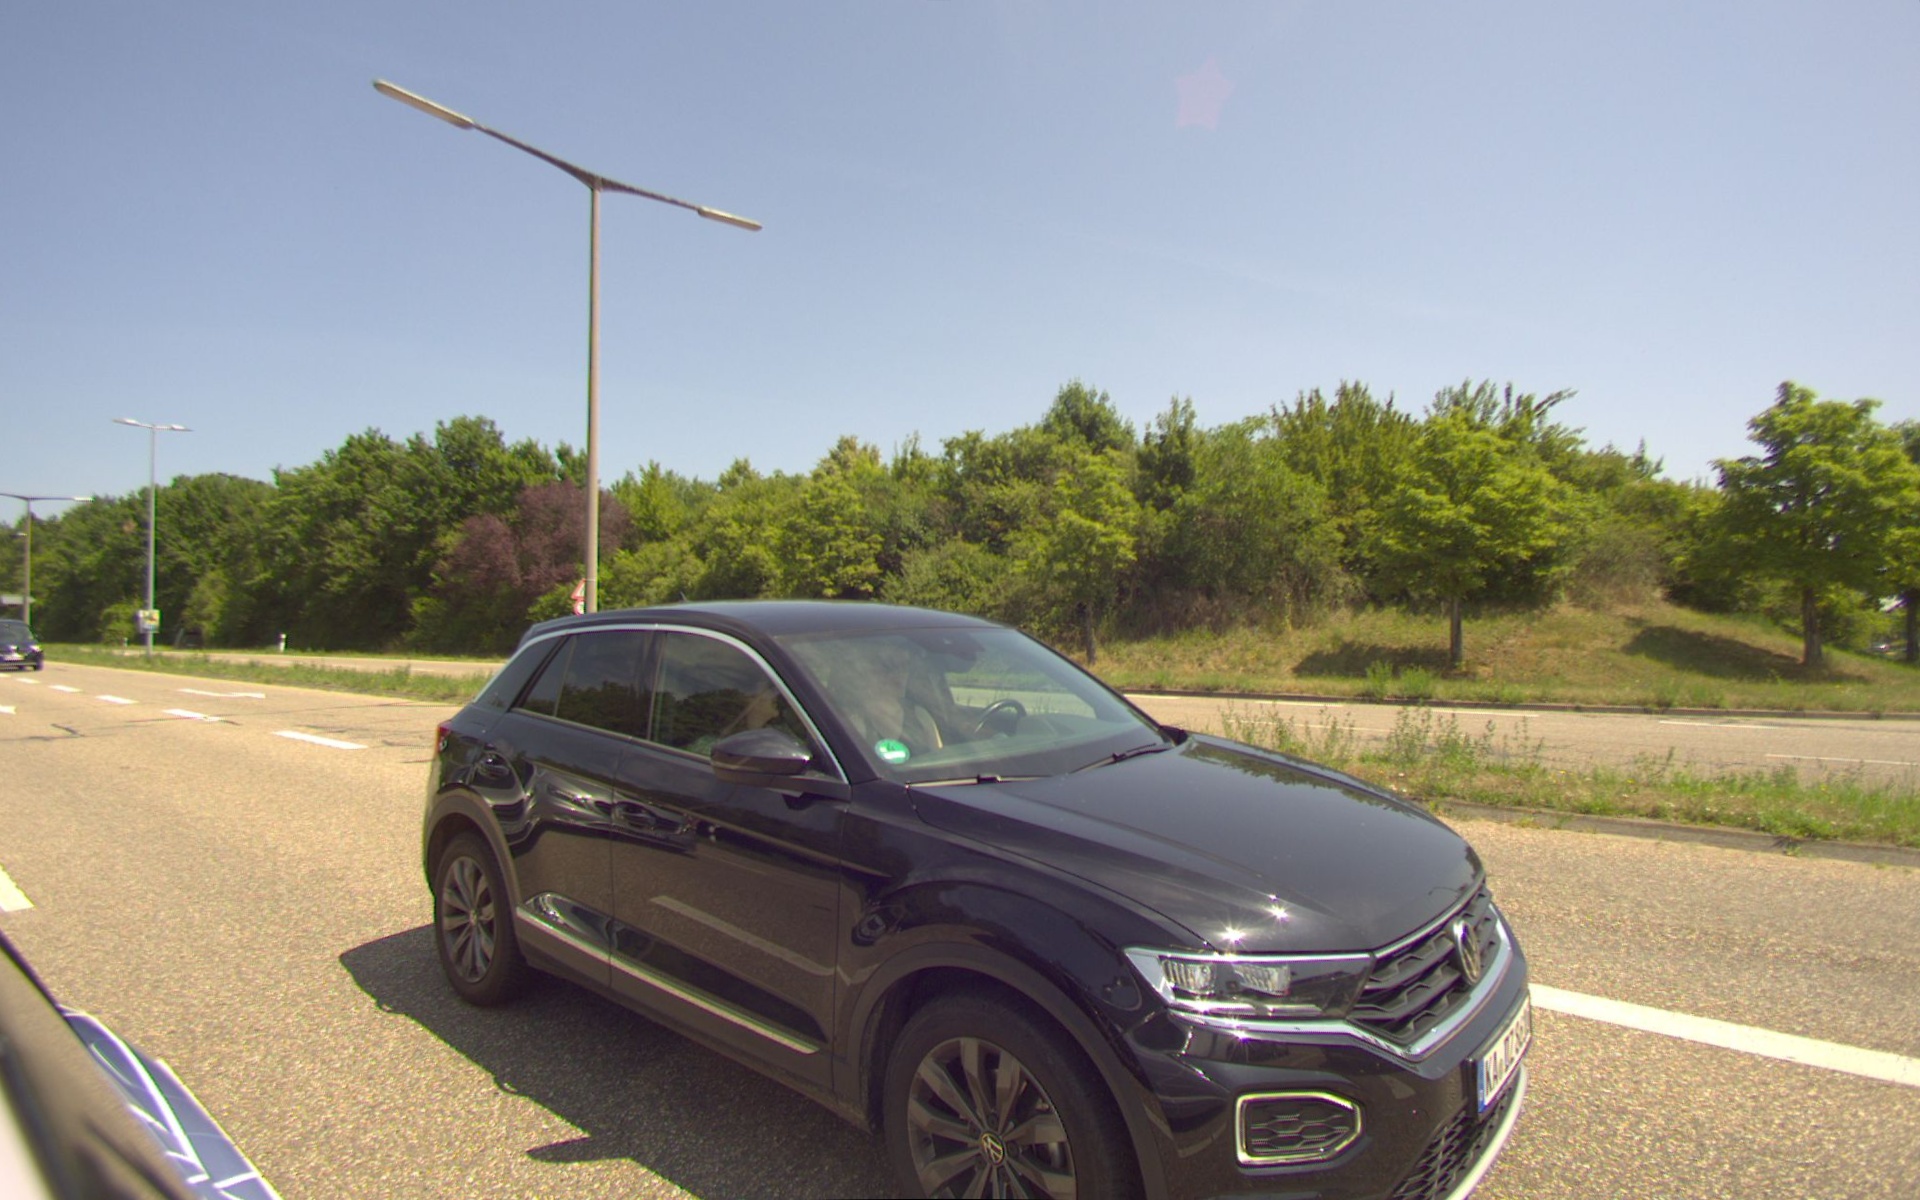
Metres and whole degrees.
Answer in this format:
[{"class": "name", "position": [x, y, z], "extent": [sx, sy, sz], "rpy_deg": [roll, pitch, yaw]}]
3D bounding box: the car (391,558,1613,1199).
[{"class": "car", "position": [-0.258, 0.713, 3.447], "extent": [3.969, 1.523, 1.716], "rpy_deg": [-1, 0, 41]}]

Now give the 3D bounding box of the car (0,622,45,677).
[{"class": "car", "position": [-33.721, 1.707, 35.538], "extent": [4.317, 1.840, 1.714], "rpy_deg": [-2, -2, 39]}]
